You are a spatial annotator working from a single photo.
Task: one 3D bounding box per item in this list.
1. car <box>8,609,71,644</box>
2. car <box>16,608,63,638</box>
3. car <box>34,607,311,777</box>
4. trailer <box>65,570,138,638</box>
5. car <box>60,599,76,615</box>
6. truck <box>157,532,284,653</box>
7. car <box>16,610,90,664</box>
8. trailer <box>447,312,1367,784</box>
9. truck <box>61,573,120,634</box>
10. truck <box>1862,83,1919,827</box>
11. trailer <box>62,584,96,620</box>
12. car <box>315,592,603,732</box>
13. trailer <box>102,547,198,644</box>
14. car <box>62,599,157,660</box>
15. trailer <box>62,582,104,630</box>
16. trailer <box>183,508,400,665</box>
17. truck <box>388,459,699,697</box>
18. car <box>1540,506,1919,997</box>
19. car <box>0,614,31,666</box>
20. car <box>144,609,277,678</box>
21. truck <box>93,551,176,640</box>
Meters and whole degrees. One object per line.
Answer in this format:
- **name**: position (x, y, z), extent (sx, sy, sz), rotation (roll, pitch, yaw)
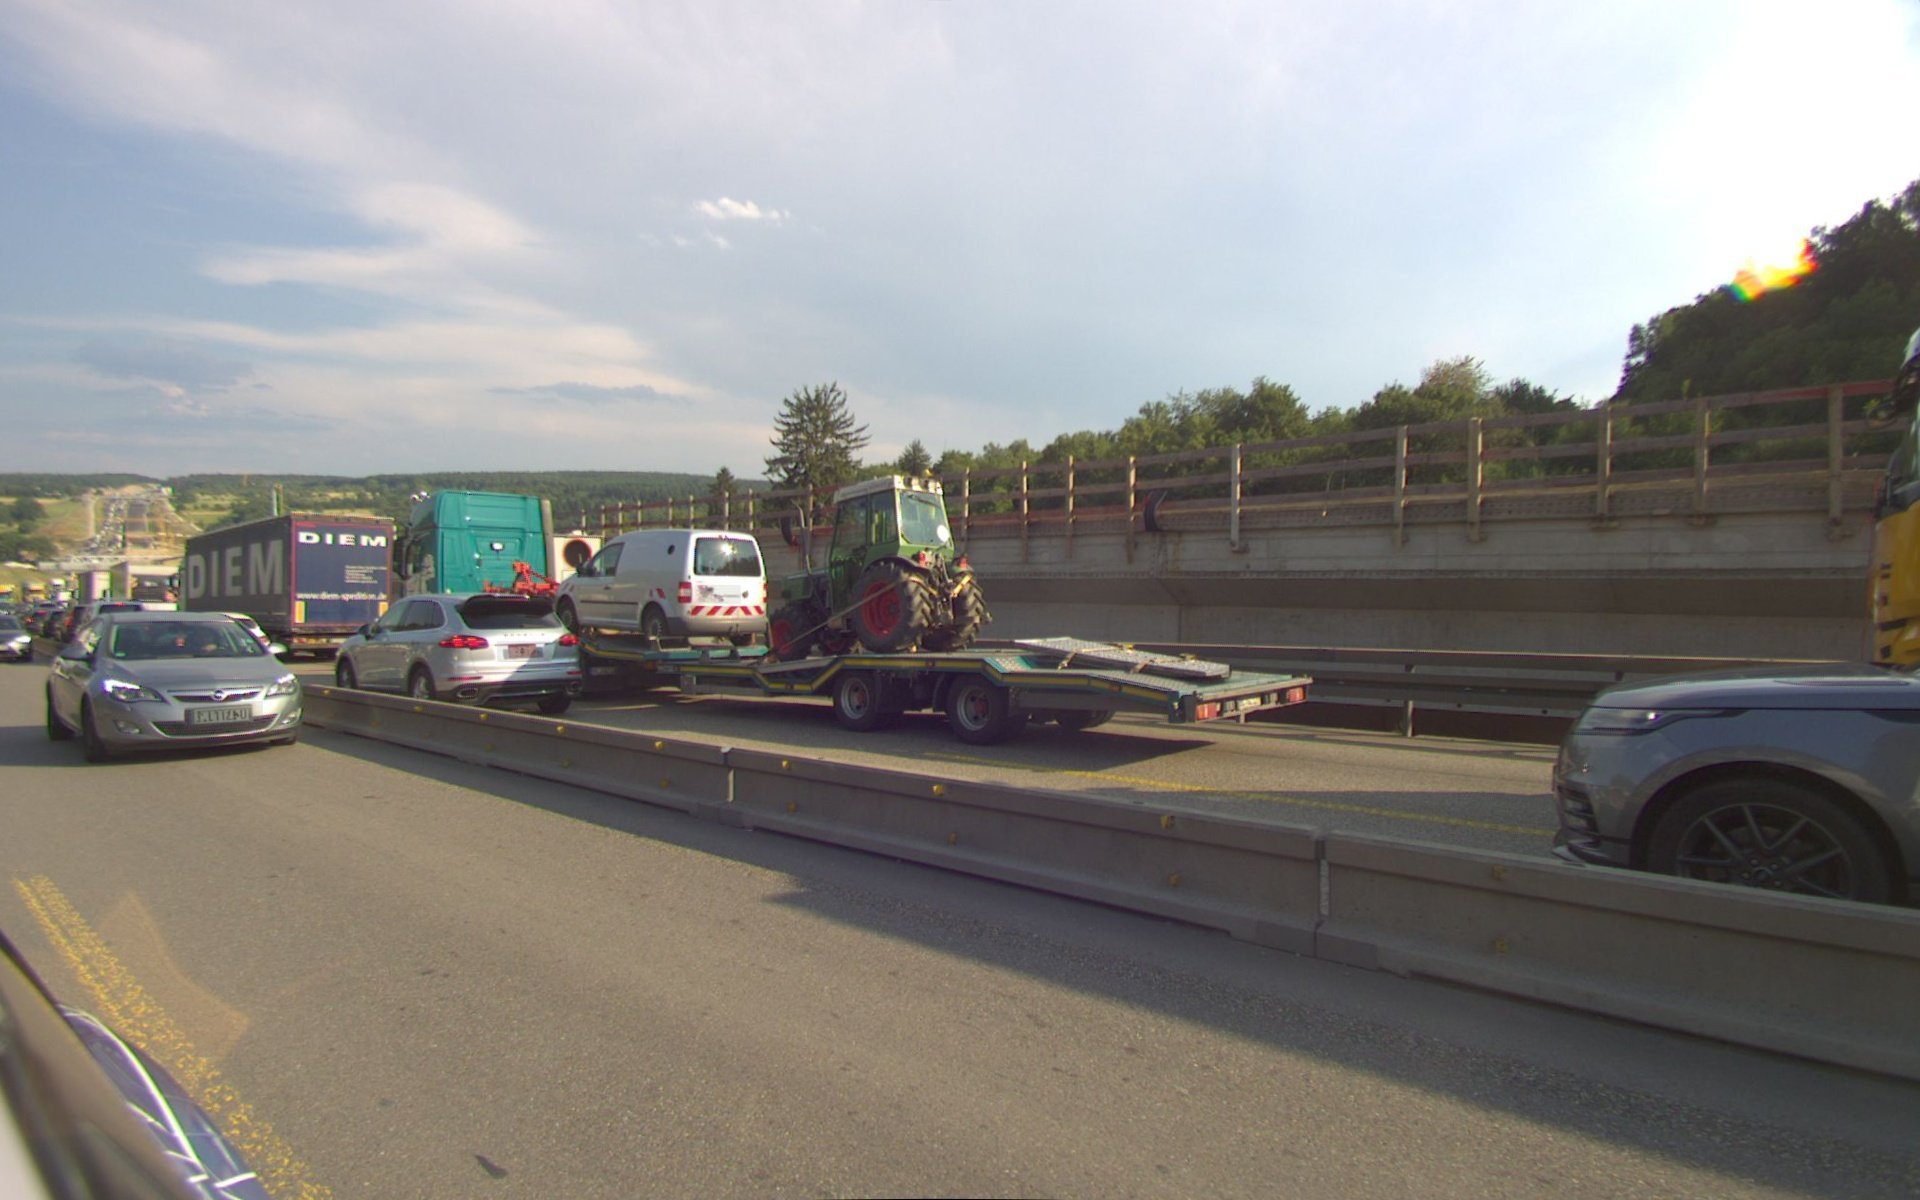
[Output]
- **car**: position (-46.530, 1.309, 51.116), extent (5.369, 1.618, 1.856), rotation (0, -2, 43)
- **car**: position (-56.662, 1.400, 62.260), extent (4.749, 1.598, 1.841), rotation (1, 3, 45)
- **car**: position (-8.664, 0.831, 10.997), extent (4.119, 1.498, 1.785), rotation (-1, -1, 44)
- **trailer**: position (-58.218, 0.255, 68.454), extent (2.744, 4.235, 13.842), rotation (1, -1, -45)
- **car**: position (-153.479, 1.169, 174.101), extent (1.972, 2.636, 5.621), rotation (2, -2, -42)
- **truck**: position (-27.309, -0.210, 37.302), extent (5.029, 4.146, 2.719), rotation (-1, -2, 42)
- **car**: position (-36.782, 1.432, 41.003), extent (4.900, 1.978, 1.813), rotation (1, 0, 43)
- **trailer**: position (-2.718, -0.348, 14.619), extent (16.043, 3.845, 2.719), rotation (0, -2, 42)
- **truck**: position (-62.938, 0.240, 73.212), extent (2.732, 4.235, 6.119), rotation (1, -1, -45)
- **truck**: position (8.316, -0.795, 4.910), extent (5.790, 4.172, 2.673), rotation (0, -1, 40)
- **trailer**: position (-103.404, 0.265, 118.717), extent (2.781, 4.136, 8.297), rotation (1, -1, -42)
- **car**: position (-7.221, 0.744, 14.340), extent (4.846, 1.657, 1.939), rotation (0, -1, 41)
- **trailer**: position (-40.530, -0.205, 50.570), extent (7.155, 4.499, 2.879), rotation (0, 0, 44)
- **car**: position (-29.747, 0.996, 35.344), extent (5.130, 1.948, 1.804), rotation (0, -3, 42)
- **trailer**: position (-84.534, 0.556, 97.449), extent (2.427, 4.353, 13.788), rotation (1, -1, -43)
- **trailer**: position (-21.390, -0.284, 31.862), extent (12.491, 4.154, 2.685), rotation (-1, -2, 43)
- **truck**: position (-8.298, -0.298, 19.678), extent (7.110, 3.834, 2.719), rotation (-1, -2, 42)
- **car**: position (4.860, 0.545, 3.509), extent (4.689, 1.714, 1.907), rotation (0, -1, 41)
- **car**: position (-28.752, 1.181, 29.805), extent (4.001, 1.452, 1.798), rotation (-1, 0, 44)
- **car**: position (-18.586, 1.024, 25.015), extent (4.817, 1.533, 1.783), rotation (0, -2, 43)
- **truck**: position (-44.434, -0.234, 54.425), extent (5.029, 4.548, 2.887), rotation (0, 0, 44)
